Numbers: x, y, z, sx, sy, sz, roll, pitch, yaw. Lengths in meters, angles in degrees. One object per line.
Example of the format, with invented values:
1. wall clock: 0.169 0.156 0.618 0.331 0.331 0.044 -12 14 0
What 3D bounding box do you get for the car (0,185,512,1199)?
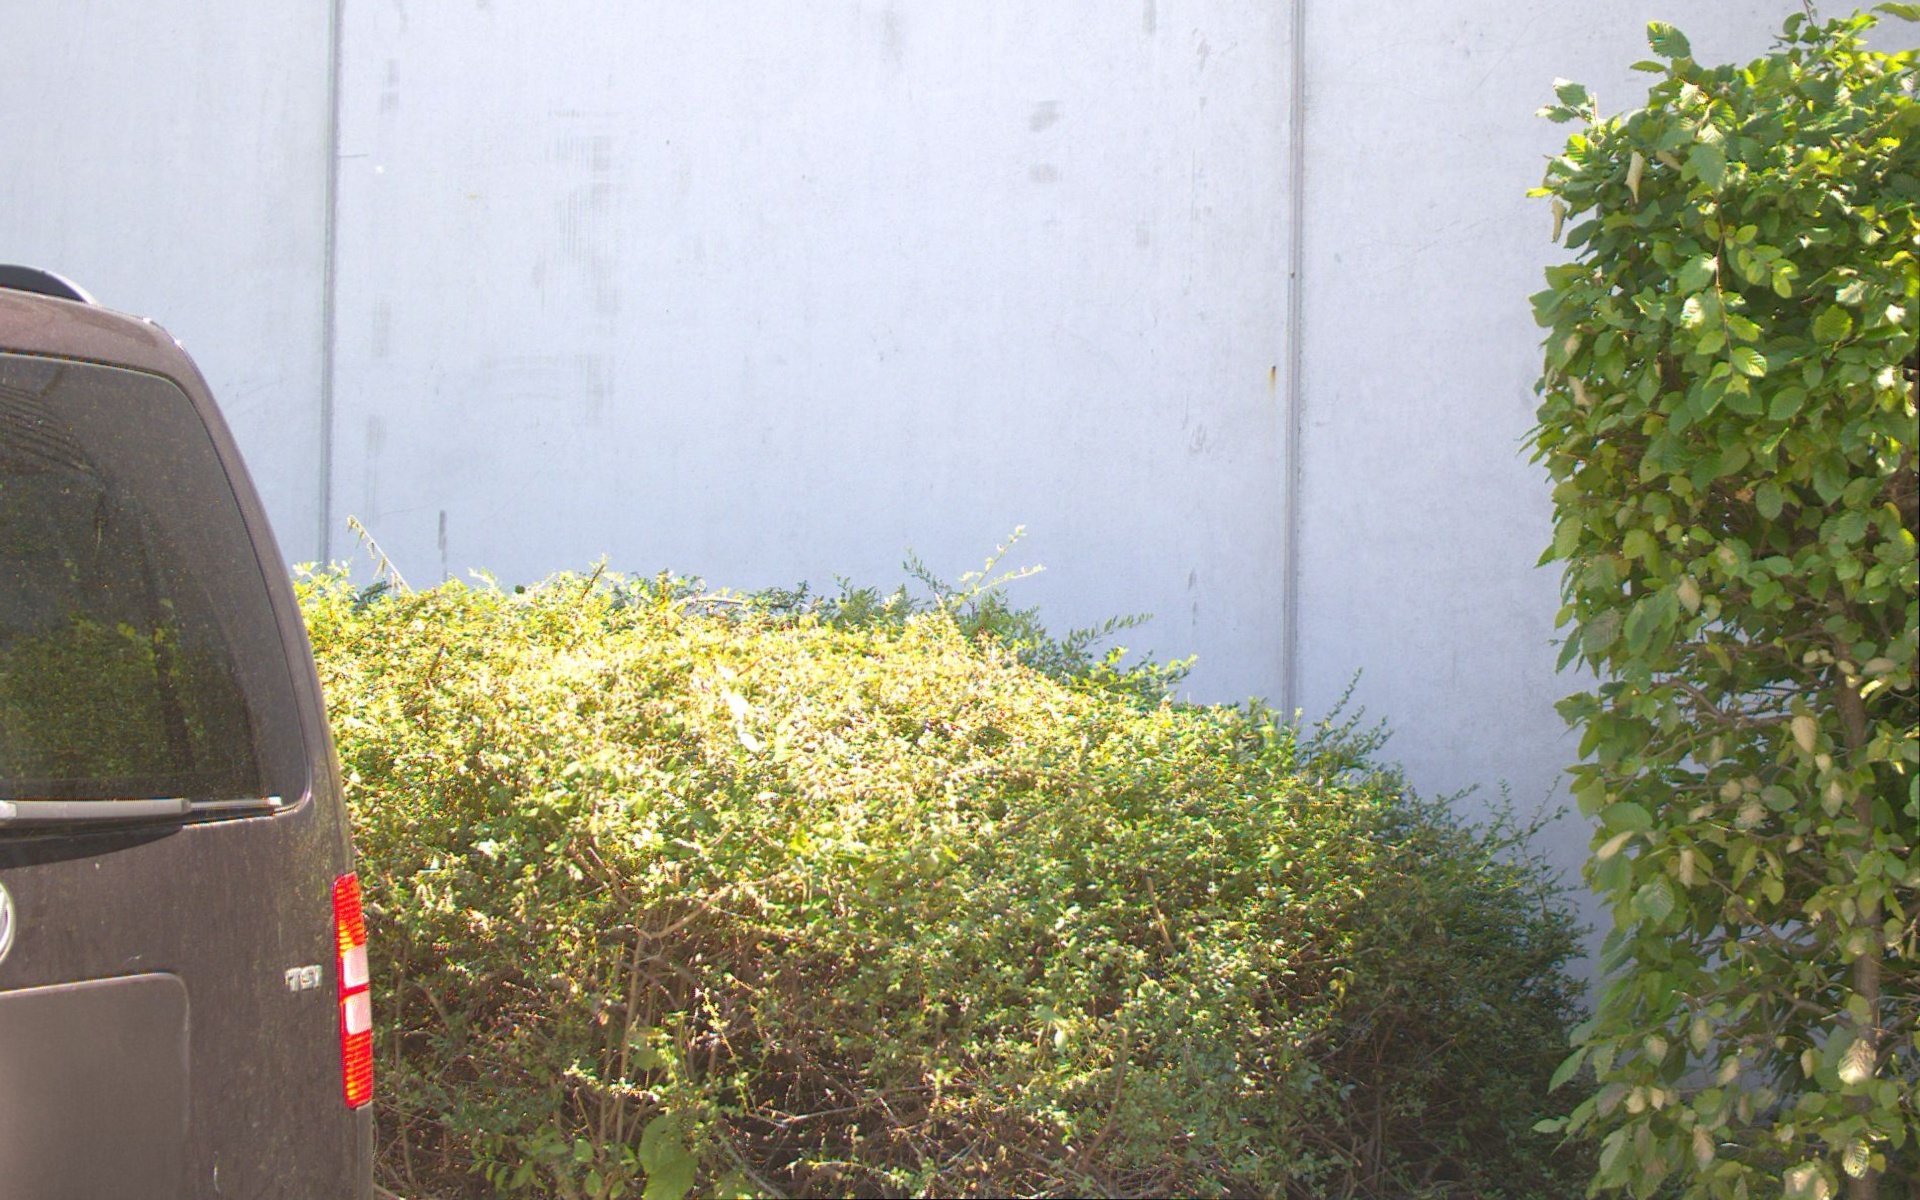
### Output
1. car: -2.726 0.464 4.865 4.066 1.877 1.675 1 1 34
